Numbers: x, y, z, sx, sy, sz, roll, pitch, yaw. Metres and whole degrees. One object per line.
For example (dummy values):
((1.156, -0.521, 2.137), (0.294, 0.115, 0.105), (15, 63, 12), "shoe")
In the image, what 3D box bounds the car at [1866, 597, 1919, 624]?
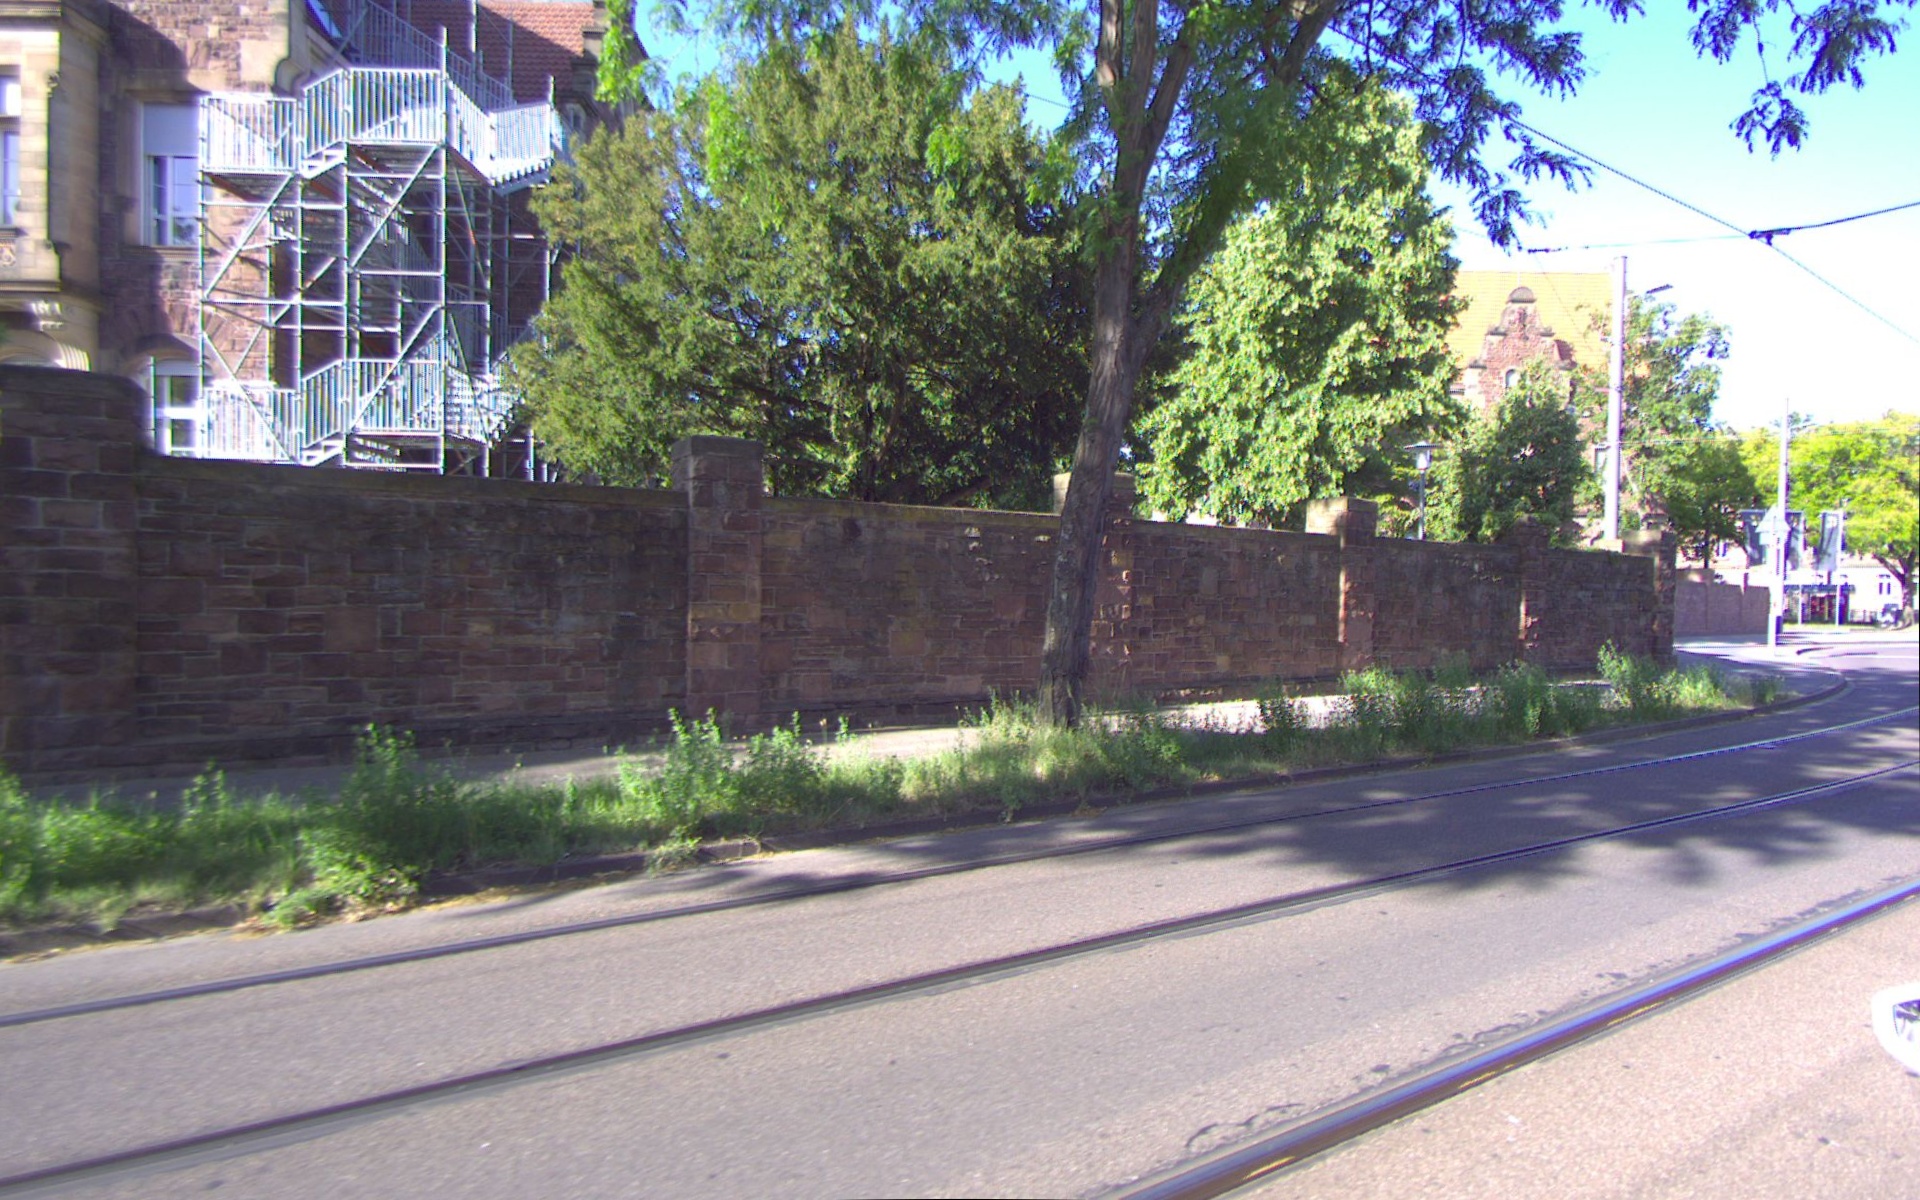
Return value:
((66.280, 0.705, 70.289), (1.980, 1.814, 3.961), (0, 1, -35), "car")
